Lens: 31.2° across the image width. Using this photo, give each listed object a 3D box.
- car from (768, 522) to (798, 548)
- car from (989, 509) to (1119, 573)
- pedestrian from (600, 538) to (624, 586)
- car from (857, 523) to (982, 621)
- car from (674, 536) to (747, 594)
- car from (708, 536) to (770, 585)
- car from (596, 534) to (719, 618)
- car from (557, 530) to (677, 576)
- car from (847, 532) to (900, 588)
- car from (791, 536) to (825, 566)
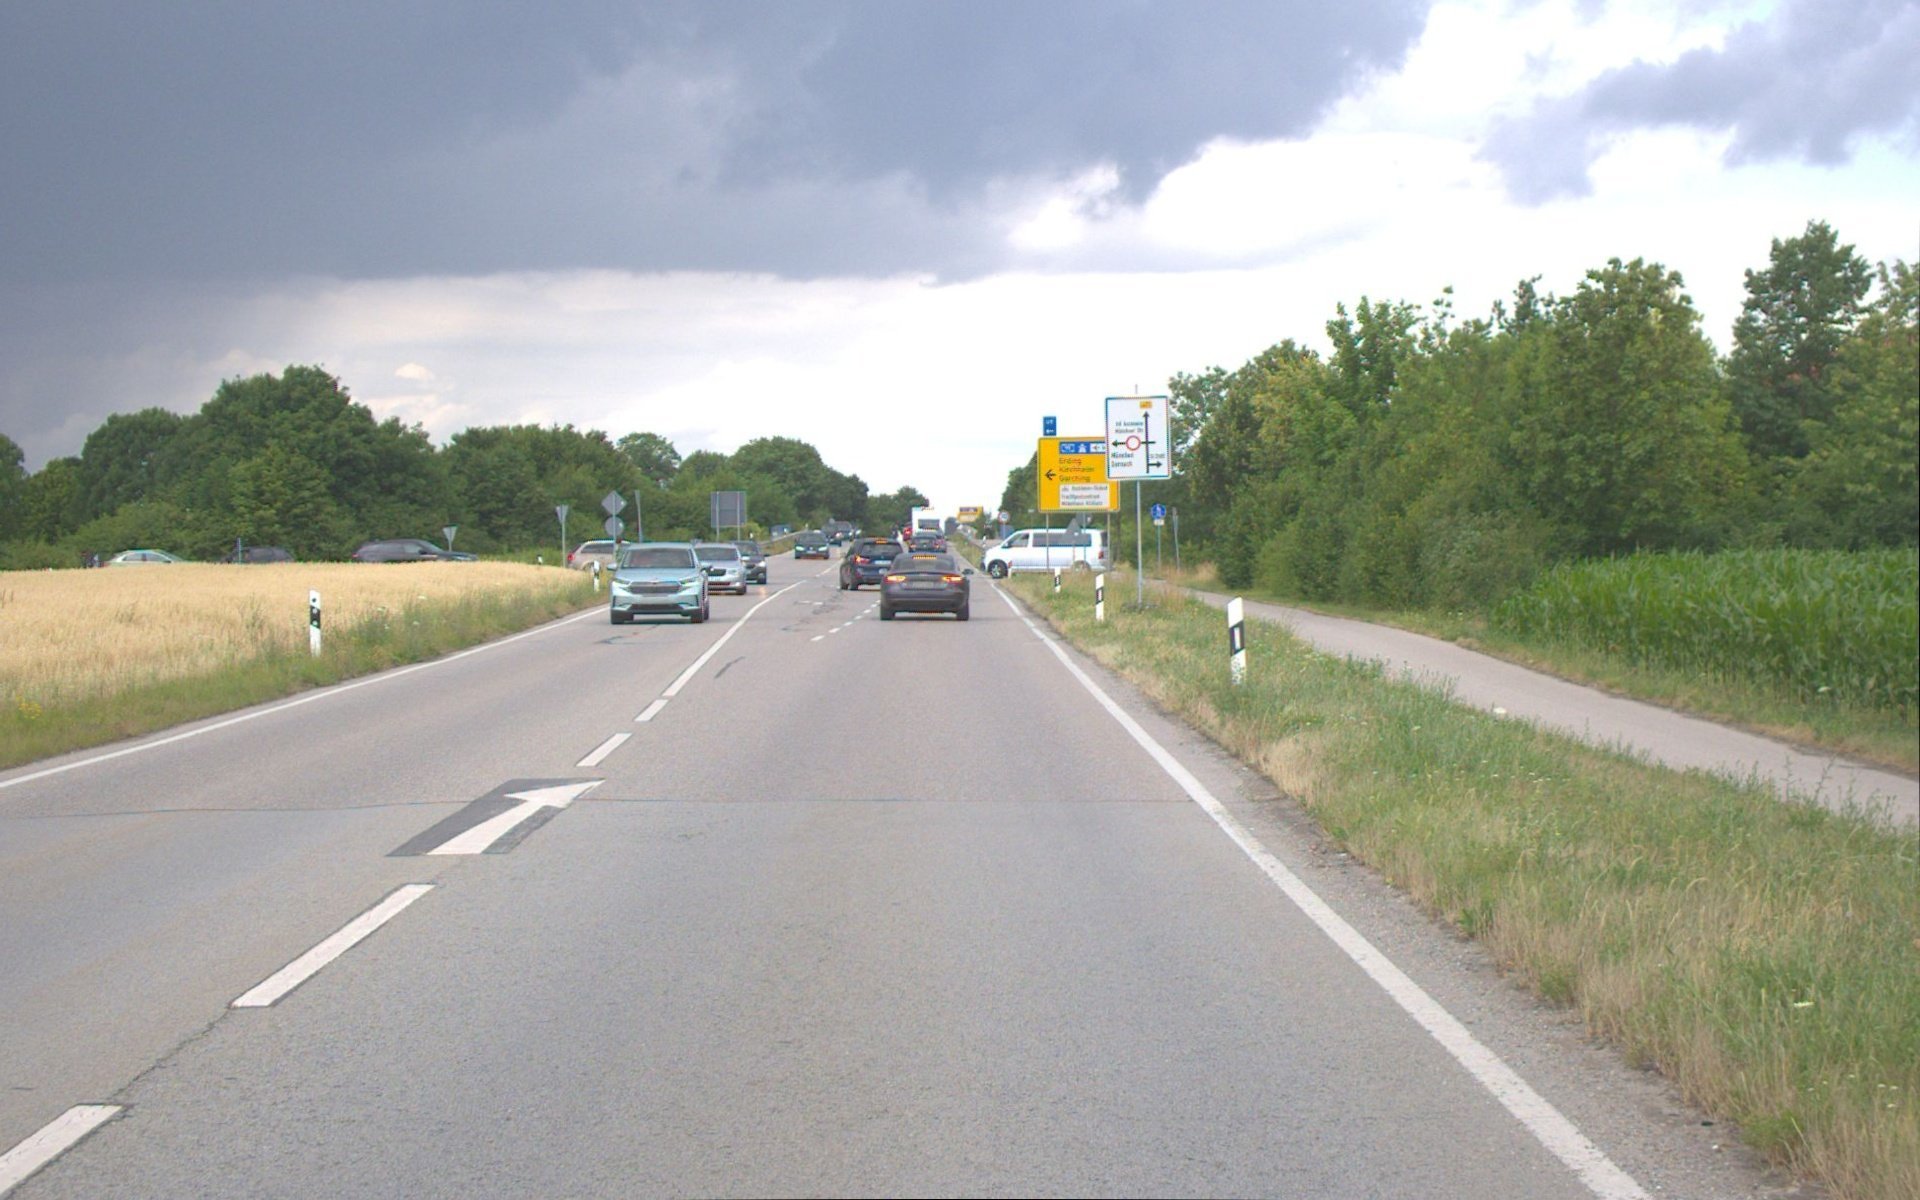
[{"bbox_3d":[-10.841,-3.996,210.705,1.646,1.585,4.000,-1,1,0],"label":"car"},{"bbox_3d":[3.704,-2.309,134.917,4.838,2.443,2.004,-1,1,11],"label":"car"},{"bbox_3d":[-11.447,-1.258,113.088,0.367,1.570,0.702,0,1,35],"label":"pedestrian"},{"bbox_3d":[-0.890,-0.604,71.724,2.371,1.874,4.478,-2,1,-3],"label":"car"},{"bbox_3d":[-7.159,-1.024,99.033,1.767,1.596,4.931,-1,1,0],"label":"car"},{"bbox_3d":[-7.541,-1.374,117.553,1.853,1.624,4.000,-1,1,0],"label":"car"},{"bbox_3d":[-6.100,-0.515,69.824,2.065,1.575,4.766,-2,1,-1],"label":"car"},{"bbox_3d":[-12.840,-1.767,128.779,4.412,1.643,1.502,-1,1,-5],"label":"car"},{"bbox_3d":[-2.673,-1.262,106.782,1.571,1.695,4.000,-1,1,0],"label":"car"},{"bbox_3d":[-8.196,-2.652,185.451,1.646,1.585,4.000,-1,1,0],"label":"car"}]
